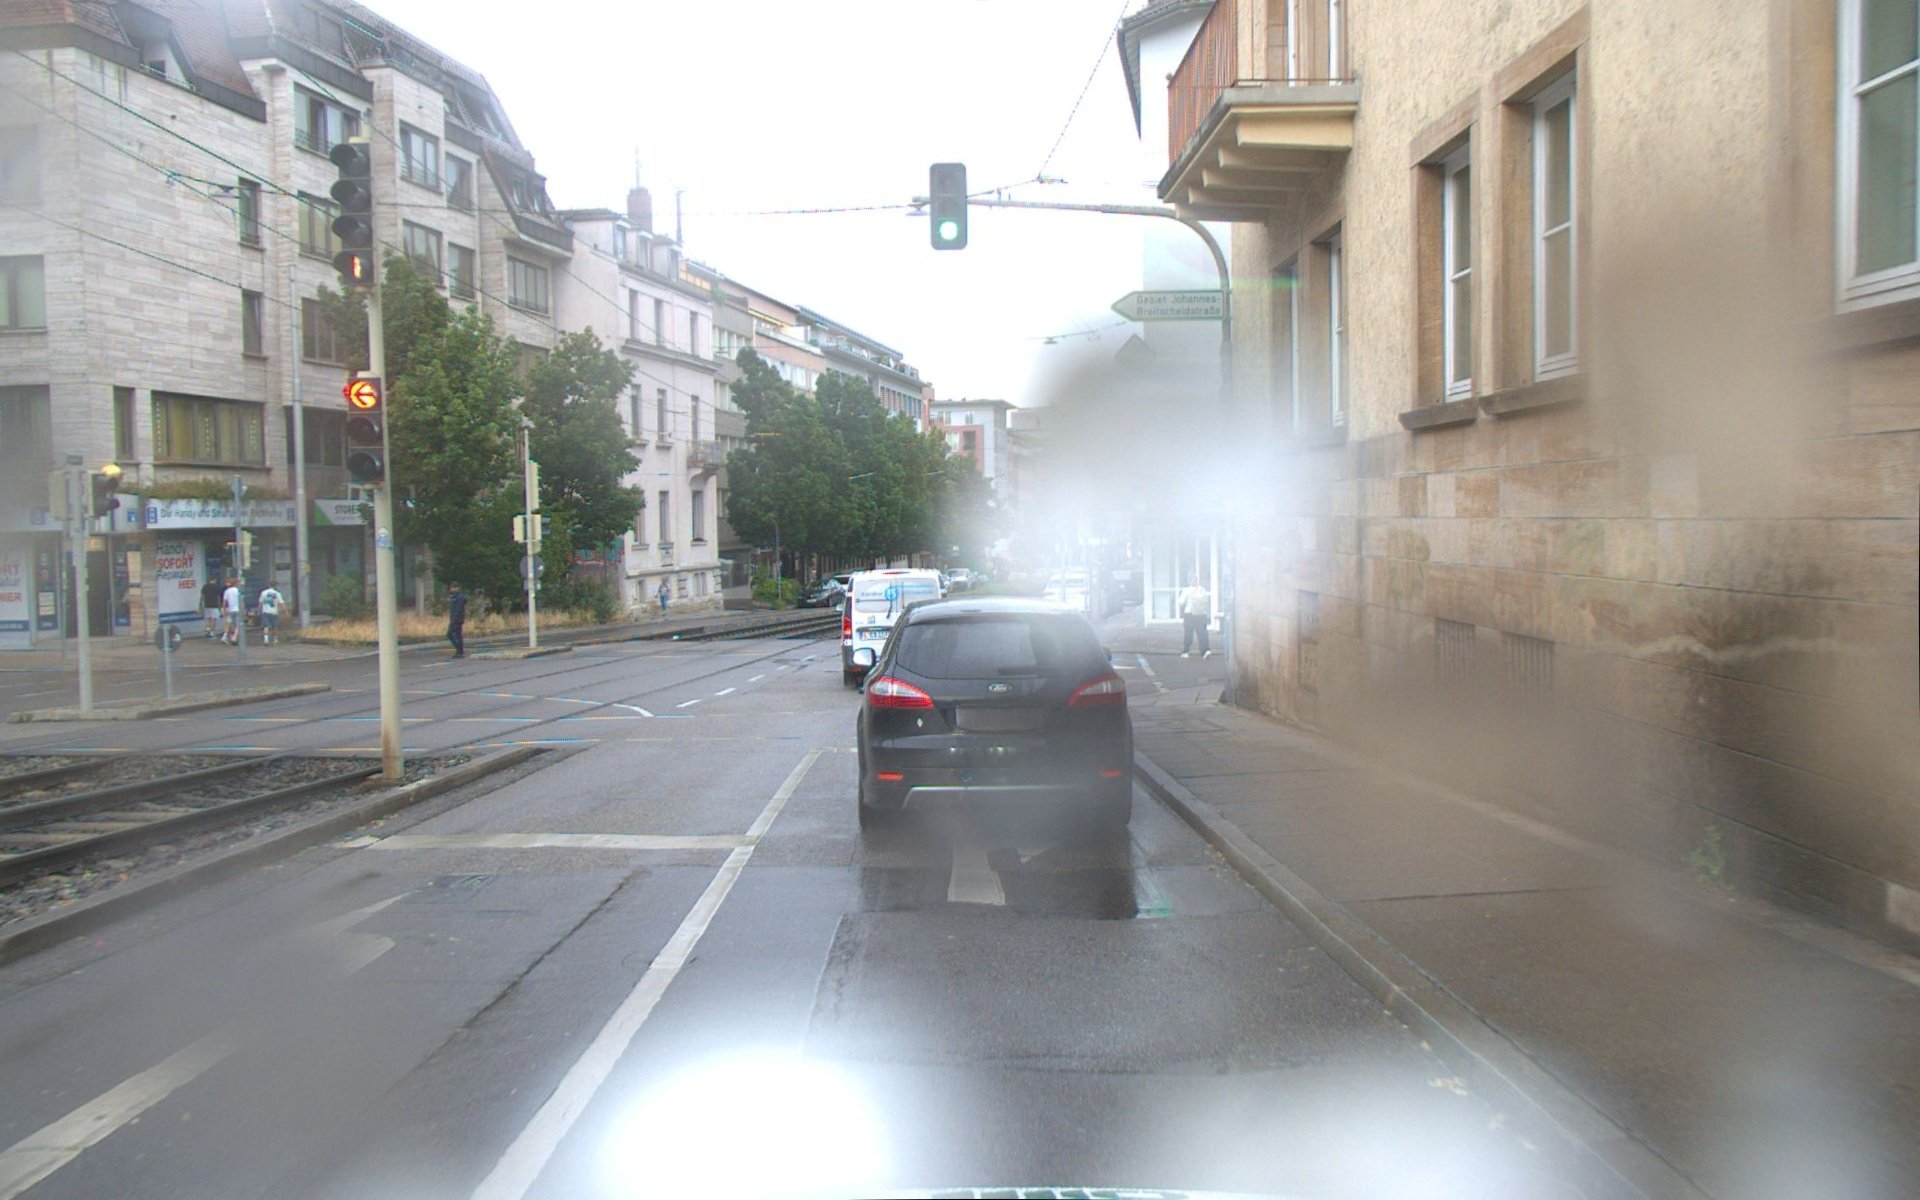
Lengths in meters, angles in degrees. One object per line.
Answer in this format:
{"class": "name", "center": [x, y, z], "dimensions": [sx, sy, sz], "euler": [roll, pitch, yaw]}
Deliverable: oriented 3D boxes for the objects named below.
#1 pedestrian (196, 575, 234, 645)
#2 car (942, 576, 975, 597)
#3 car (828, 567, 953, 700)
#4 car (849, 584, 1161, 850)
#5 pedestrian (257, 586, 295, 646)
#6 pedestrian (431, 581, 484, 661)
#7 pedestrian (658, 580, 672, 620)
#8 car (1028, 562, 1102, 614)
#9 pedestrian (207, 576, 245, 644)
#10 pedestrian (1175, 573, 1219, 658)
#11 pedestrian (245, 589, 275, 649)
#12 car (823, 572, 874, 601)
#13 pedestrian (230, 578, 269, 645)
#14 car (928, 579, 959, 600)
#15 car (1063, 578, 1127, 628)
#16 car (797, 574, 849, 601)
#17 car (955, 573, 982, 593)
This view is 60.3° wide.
{"class": "pedestrian", "center": [-20.330, 0.282, 45.132], "dimensions": [0.634, 1.875, 0.684], "euler": [1, -1, 8]}
{"class": "car", "center": [-0.092, -1.059, 133.919], "dimensions": [1.816, 1.665, 4.939], "euler": [0, 0, 10]}
{"class": "car", "center": [-1.161, 0.550, 28.675], "dimensions": [1.948, 2.096, 4.643], "euler": [1, 0, -1]}
{"class": "car", "center": [0.243, 0.698, 11.694], "dimensions": [1.805, 1.533, 3.999], "euler": [1, 0, -1]}
{"class": "pedestrian", "center": [-18.259, 0.432, 44.129], "dimensions": [0.634, 1.576, 0.684], "euler": [1, -1, 8]}
{"class": "pedestrian", "center": [-11.986, 0.501, 39.484], "dimensions": [0.911, 1.862, 0.960], "euler": [1, -1, 1]}
{"class": "pedestrian", "center": [-12.497, 0.013, 70.010], "dimensions": [0.458, 1.681, 0.582], "euler": [2, -1, -2]}
{"class": "car", "center": [3.279, -0.354, 50.995], "dimensions": [1.763, 1.481, 4.590], "euler": [-2, 0, 10]}
{"class": "pedestrian", "center": [-19.621, 0.266, 44.218], "dimensions": [0.634, 1.780, 0.684], "euler": [1, -1, 8]}
{"class": "pedestrian", "center": [4.580, 0.294, 32.013], "dimensions": [0.674, 1.599, 0.763], "euler": [-1, -1, -2]}
{"class": "pedestrian", "center": [-19.104, 0.523, 45.143], "dimensions": [0.493, 1.625, 0.586], "euler": [1, -1, 7]}
{"class": "car", "center": [-6.356, -0.759, 94.797], "dimensions": [1.816, 1.576, 4.725], "euler": [0, 0, 10]}
{"class": "pedestrian", "center": [-18.948, 0.309, 44.115], "dimensions": [0.634, 1.754, 0.684], "euler": [1, -1, 8]}
{"class": "car", "center": [-1.208, -0.769, 124.722], "dimensions": [1.632, 1.585, 4.049], "euler": [0, 0, 10]}
{"class": "car", "center": [4.761, 0.106, 57.821], "dimensions": [1.806, 1.661, 4.590], "euler": [-1, 0, 10]}
{"class": "car", "center": [-7.294, -0.646, 88.456], "dimensions": [1.657, 1.402, 4.724], "euler": [0, -1, 10]}
{"class": "car", "center": [0.723, -1.442, 140.687], "dimensions": [1.658, 1.601, 4.049], "euler": [0, 0, 10]}
